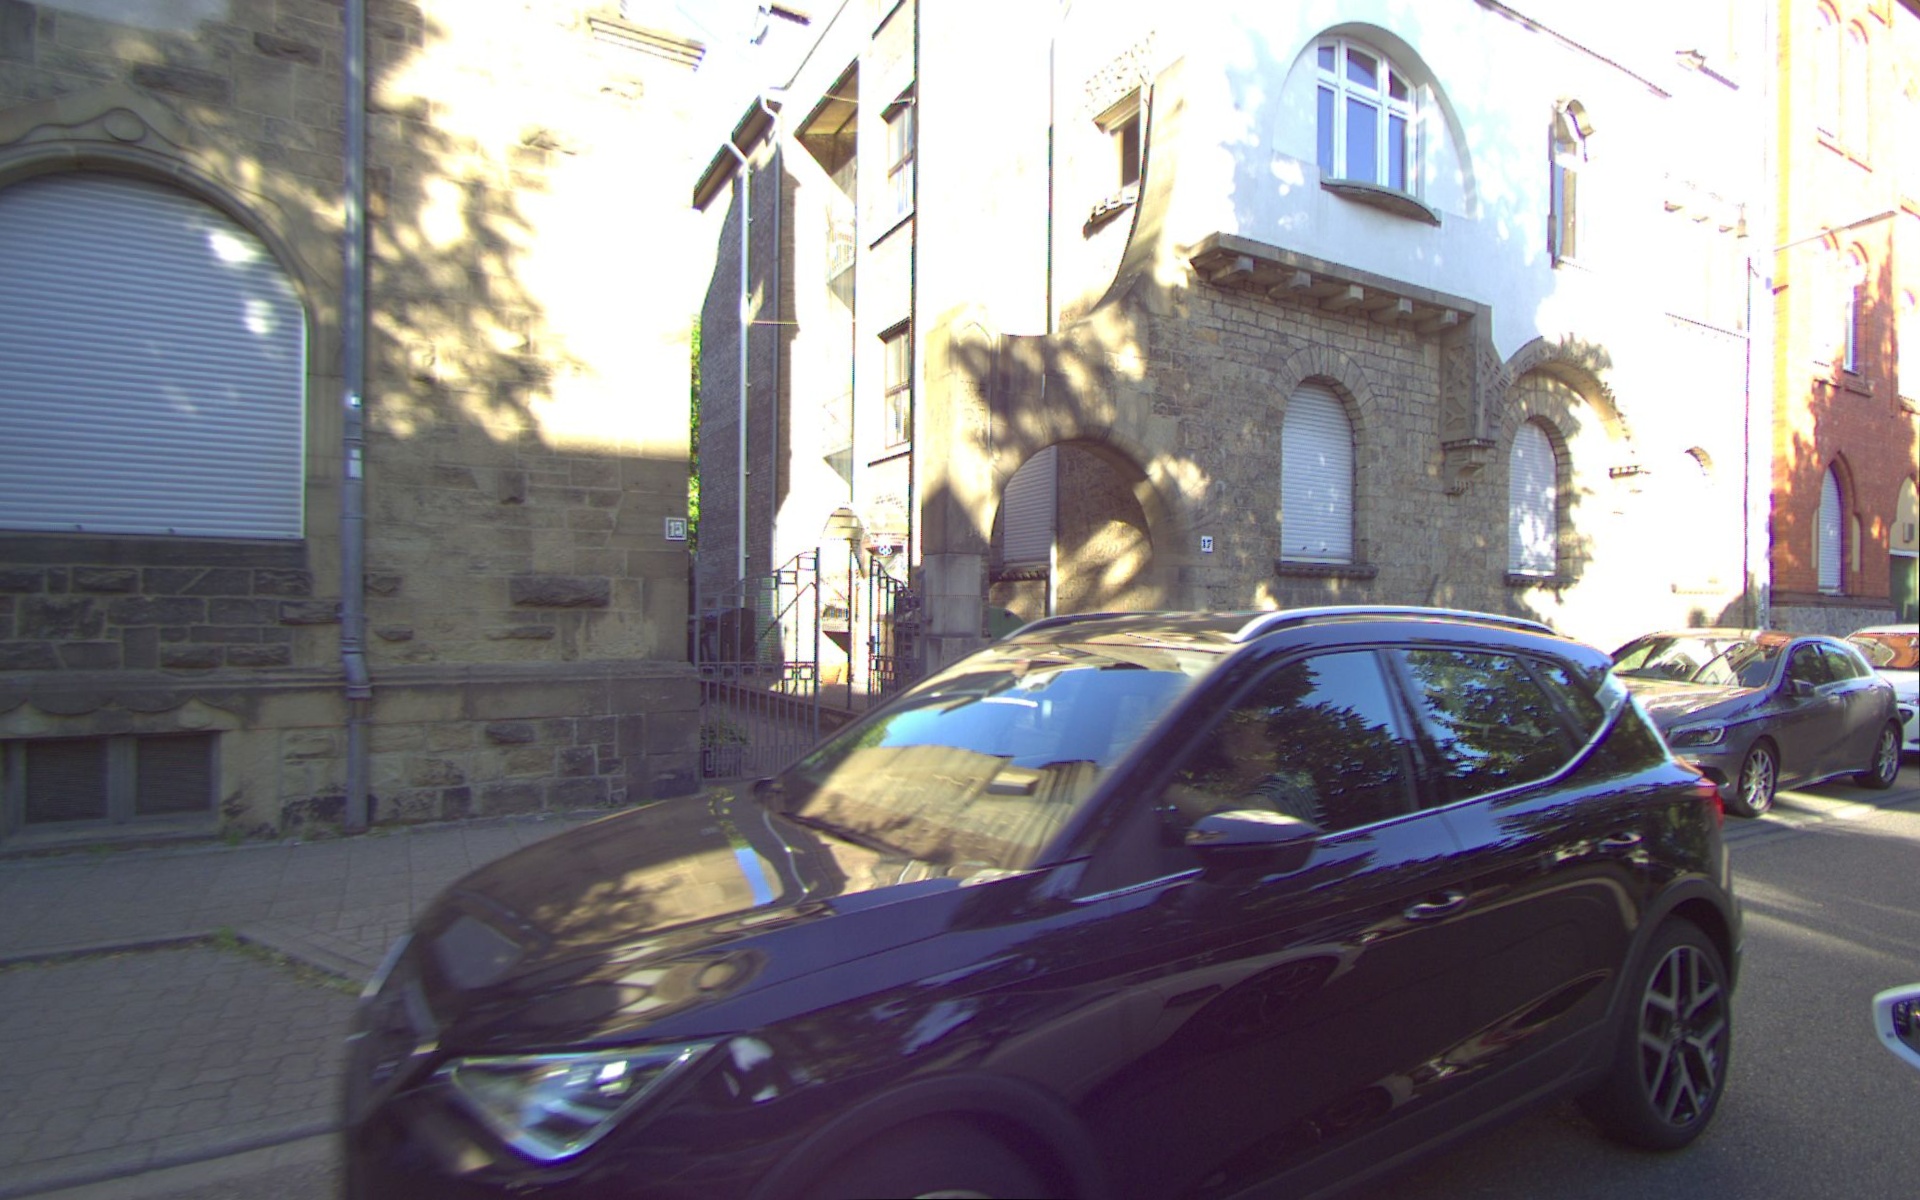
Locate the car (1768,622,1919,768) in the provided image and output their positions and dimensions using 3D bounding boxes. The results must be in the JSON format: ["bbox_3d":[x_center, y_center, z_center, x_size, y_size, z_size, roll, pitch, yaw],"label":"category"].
[{"bbox_3d":[11.314,1.024,11.821,3.546,1.490,1.560,1,0,-28],"label":"car"}]

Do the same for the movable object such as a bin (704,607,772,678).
[{"bbox_3d":[-4.944,0.937,22.330,1.160,1.498,1.187,2,0,-30],"label":"movable object such as a bin"}]

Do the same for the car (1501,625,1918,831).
[{"bbox_3d":[6.952,0.993,9.220,4.064,1.462,1.668,1,1,-31],"label":"car"}]

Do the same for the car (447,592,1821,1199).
[{"bbox_3d":[0.654,0.795,2.882,3.715,1.497,1.619,1,-2,-30],"label":"car"}]

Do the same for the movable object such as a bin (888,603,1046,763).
[{"bbox_3d":[0.054,0.805,10.314,1.160,1.498,1.187,2,0,-30],"label":"movable object such as a bin"}]
